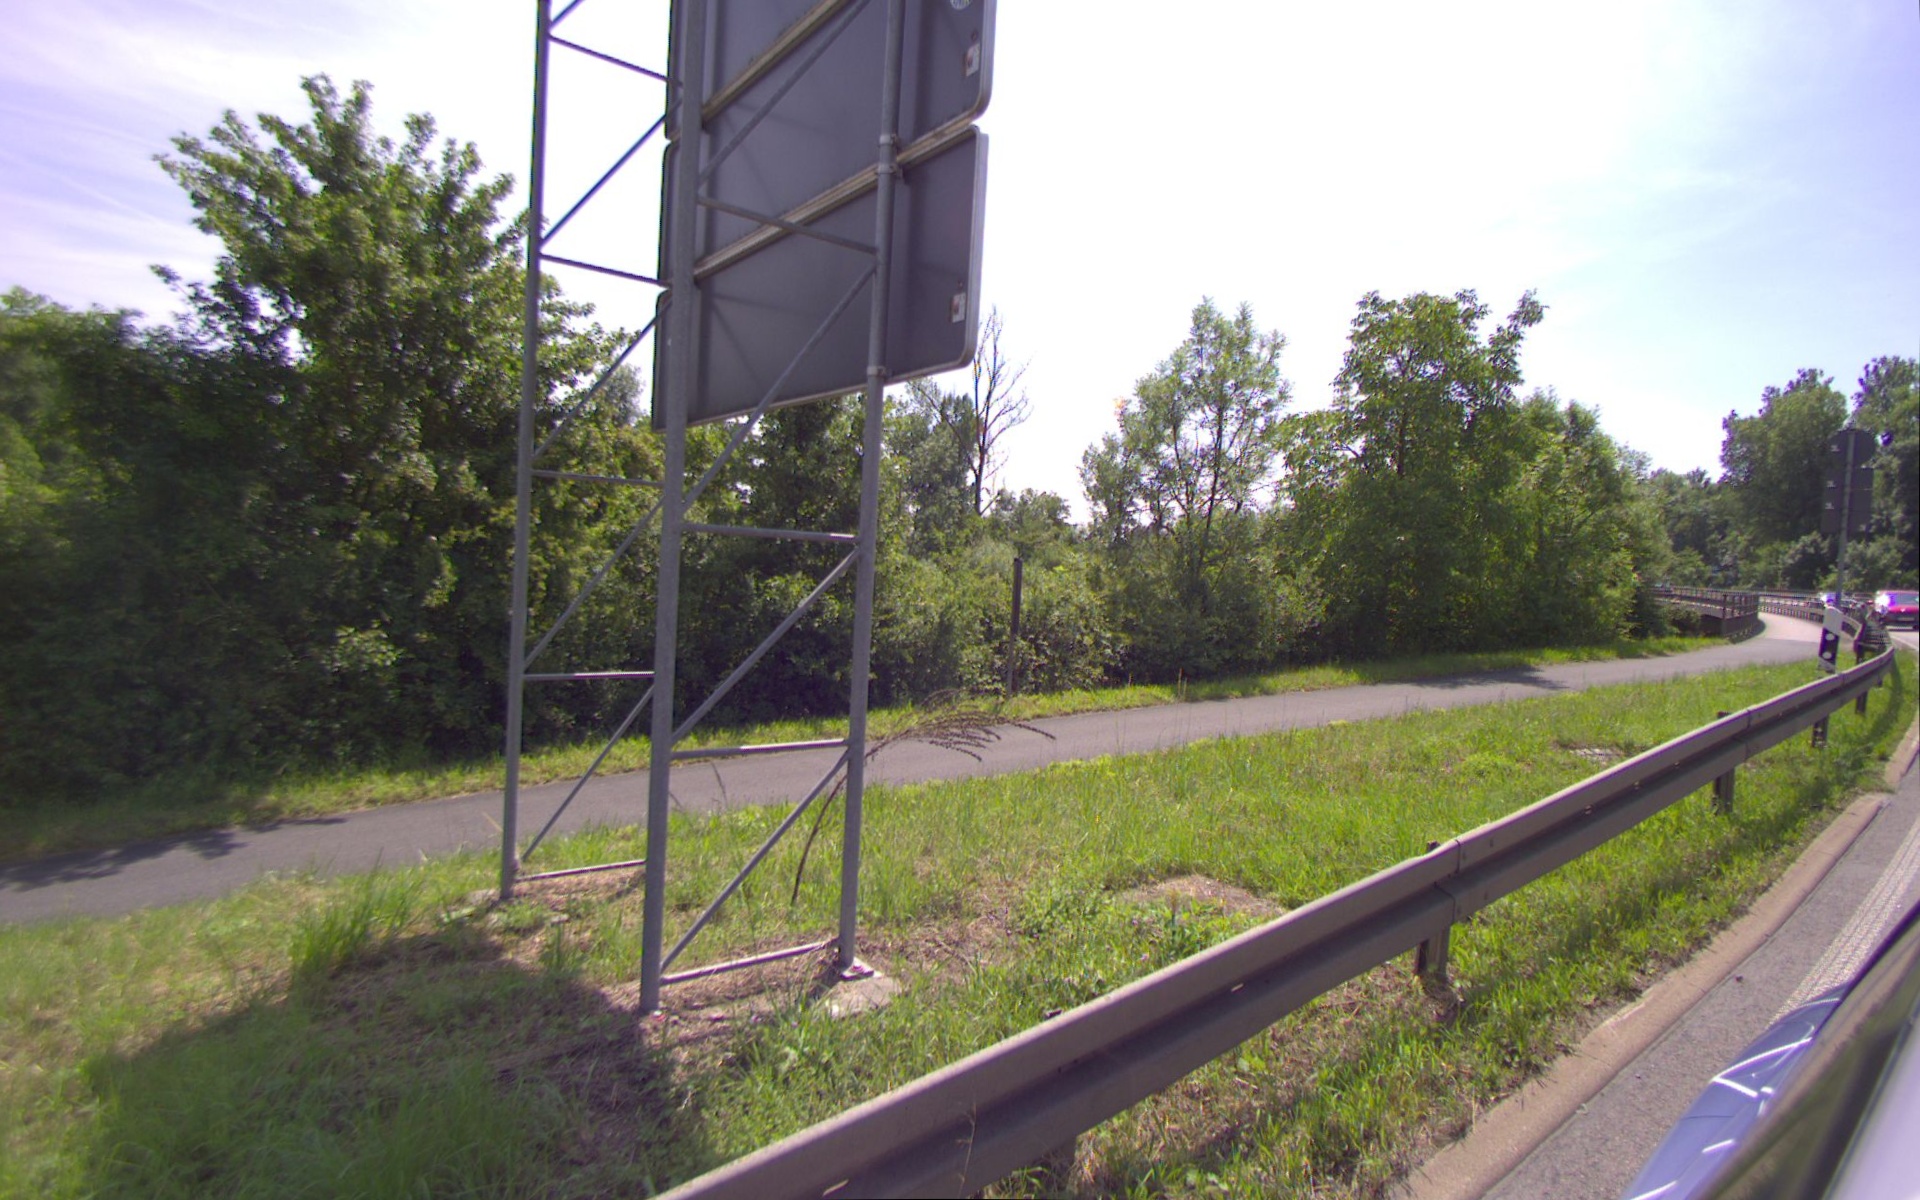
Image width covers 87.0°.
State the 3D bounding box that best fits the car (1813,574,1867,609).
[{"bbox_3d":[53.901,-0.511,62.058,1.987,2.039,3.951,-1,1,35],"label":"car"}]

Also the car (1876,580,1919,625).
[{"bbox_3d":[39.602,0.088,41.993,1.989,1.798,3.946,0,0,37],"label":"car"}]
